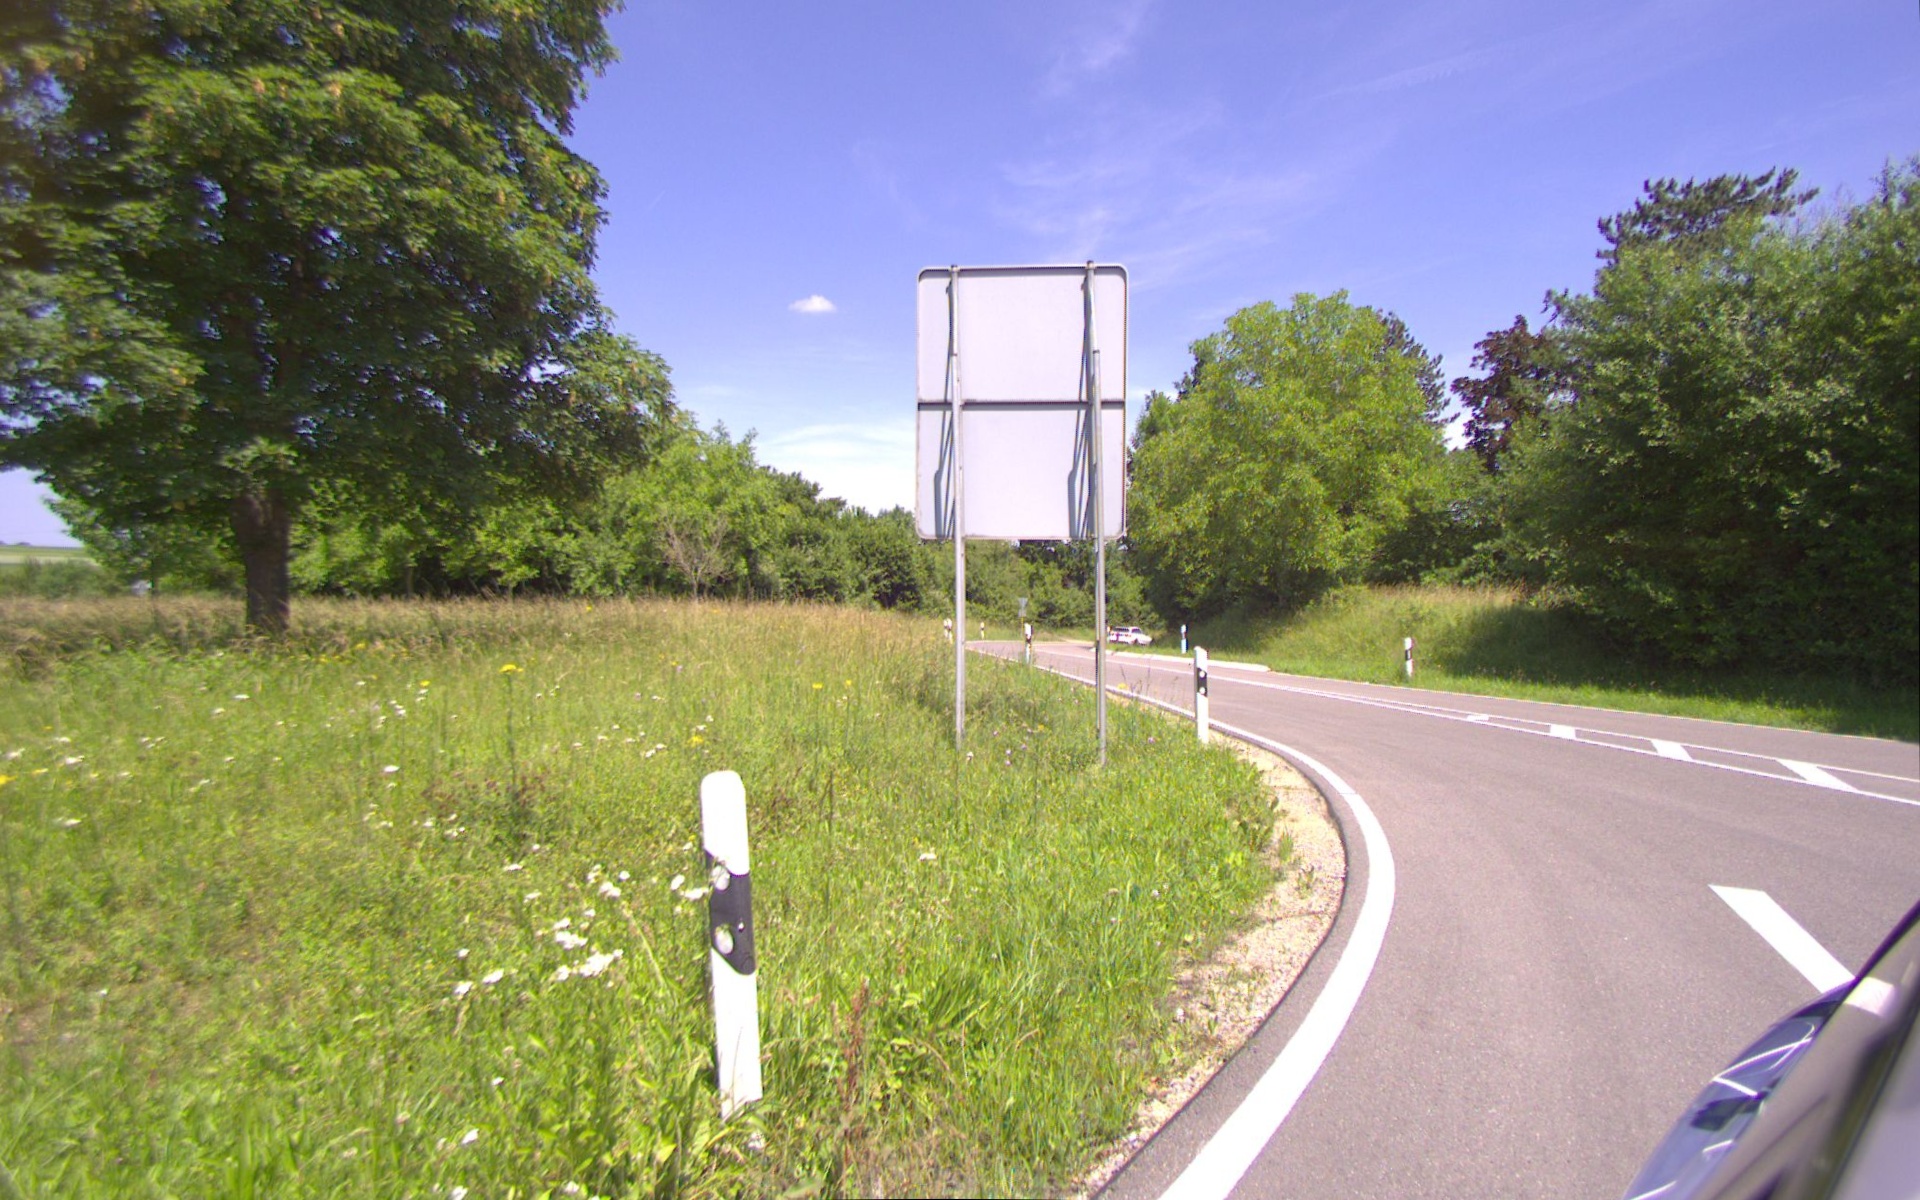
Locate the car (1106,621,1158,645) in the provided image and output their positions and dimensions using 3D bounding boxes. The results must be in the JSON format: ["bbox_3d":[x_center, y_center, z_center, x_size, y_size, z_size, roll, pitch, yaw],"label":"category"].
[{"bbox_3d":[11.876,2.309,69.662,1.795,1.431,5.274,1,-3,30],"label":"car"}]
